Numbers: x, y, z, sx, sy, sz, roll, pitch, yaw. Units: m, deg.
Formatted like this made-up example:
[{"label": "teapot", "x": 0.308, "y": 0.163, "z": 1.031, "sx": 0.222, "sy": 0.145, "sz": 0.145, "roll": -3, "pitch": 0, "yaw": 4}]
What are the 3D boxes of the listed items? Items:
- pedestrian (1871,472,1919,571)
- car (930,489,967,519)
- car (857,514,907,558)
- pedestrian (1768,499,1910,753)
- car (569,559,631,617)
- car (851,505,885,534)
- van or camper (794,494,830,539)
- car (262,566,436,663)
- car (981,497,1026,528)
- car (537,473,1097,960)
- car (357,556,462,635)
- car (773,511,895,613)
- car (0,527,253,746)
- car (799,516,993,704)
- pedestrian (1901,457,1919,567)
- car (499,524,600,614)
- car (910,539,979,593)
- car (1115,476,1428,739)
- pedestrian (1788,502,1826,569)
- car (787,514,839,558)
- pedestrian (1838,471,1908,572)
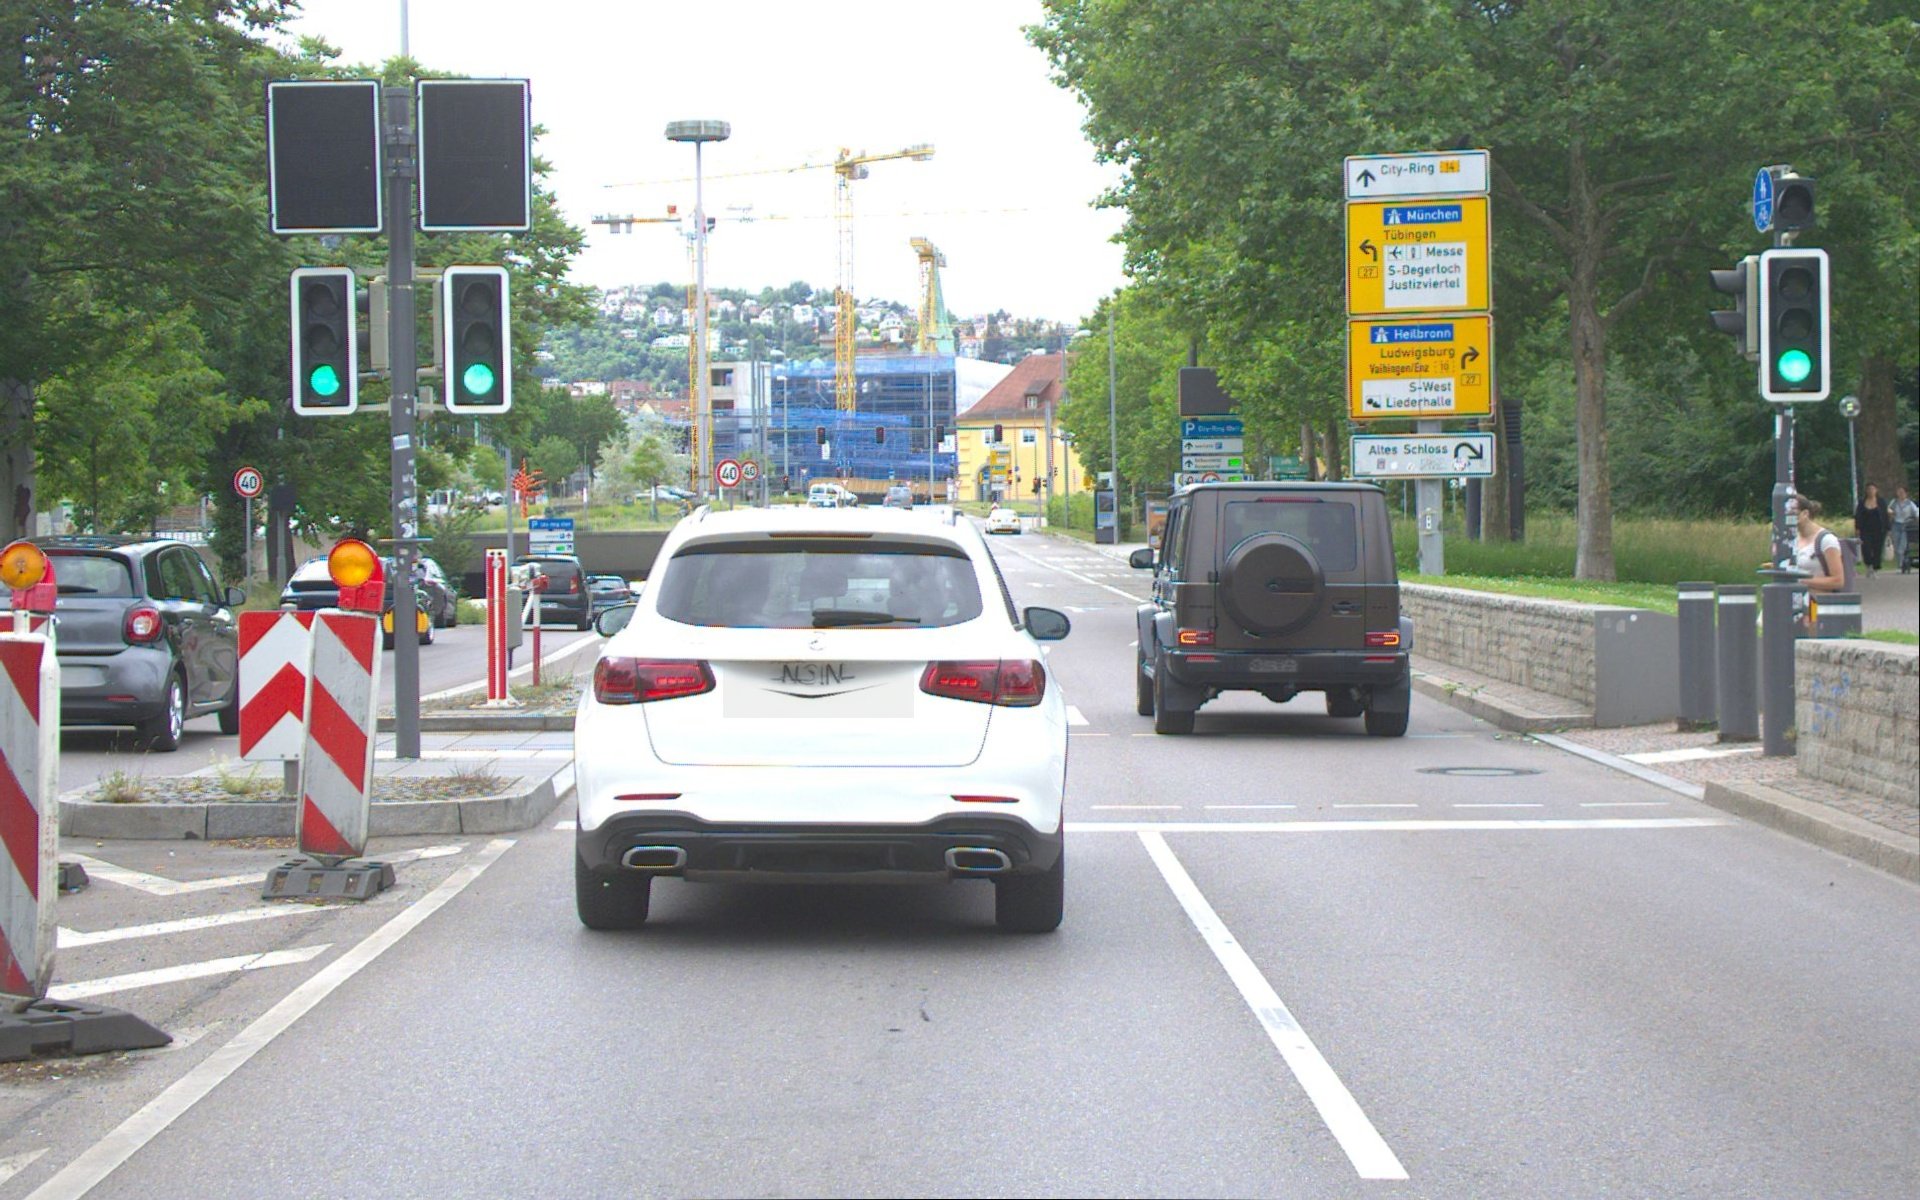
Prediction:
[{"label": "pedestrian", "x": 17.795, "y": -1.470, "z": 64.946, "sx": 0.997, "sy": 1.830, "sz": 1.029, "roll": 2, "pitch": 0, "yaw": 10}, {"label": "car", "x": -0.646, "y": -5.237, "z": 188.453, "sx": 1.719, "sy": 1.579, "sz": 4.001, "roll": 2, "pitch": 1, "yaw": -4}, {"label": "car", "x": -3.372, "y": -2.716, "z": 147.277, "sx": 1.993, "sy": 1.774, "sz": 4.000, "roll": 2, "pitch": 0, "yaw": -3}, {"label": "pedestrian", "x": 5.848, "y": 0.169, "z": 22.898, "sx": 0.697, "sy": 1.650, "sz": 0.684, "roll": 2, "pitch": 0, "yaw": -3}, {"label": "car", "x": -10.652, "y": -0.380, "z": 101.616, "sx": 1.718, "sy": 1.579, "sz": 4.001, "roll": 2, "pitch": 1, "yaw": -7}, {"label": "car", "x": -5.244, "y": -4.594, "z": 195.669, "sx": 1.719, "sy": 1.579, "sz": 4.001, "roll": 2, "pitch": 1, "yaw": -4}, {"label": "van or camper", "x": -8.179, "y": -4.578, "z": 189.472, "sx": 1.922, "sy": 2.312, "sz": 4.000, "roll": 1, "pitch": 0, "yaw": -3}, {"label": "car", "x": -8.916, "y": 0.183, "z": 50.441, "sx": 1.719, "sy": 1.288, "sz": 4.000, "roll": 2, "pitch": 1, "yaw": 2}, {"label": "car", "x": 2.497, "y": -5.030, "z": 197.915, "sx": 1.993, "sy": 1.612, "sz": 4.001, "roll": 2, "pitch": 0, "yaw": -7}, {"label": "car", "x": -0.608, "y": 0.404, "z": 14.235, "sx": 1.940, "sy": 1.678, "sz": 4.000, "roll": 2, "pitch": 0, "yaw": -3}, {"label": "car", "x": -11.562, "y": -0.113, "z": 72.365, "sx": 1.753, "sy": 1.548, "sz": 4.001, "roll": 1, "pitch": 1, "yaw": -3}, {"label": "car", "x": -2.099, "y": -0.656, "z": 56.543, "sx": 1.922, "sy": 1.596, "sz": 4.001, "roll": 1, "pitch": 1, "yaw": -3}, {"label": "car", "x": -6.398, "y": 0.238, "z": 25.648, "sx": 1.627, "sy": 1.504, "sz": 3.540, "roll": 1, "pitch": 0, "yaw": -2}, {"label": "car", "x": -0.621, "y": 0.086, "z": 32.543, "sx": 1.672, "sy": 1.622, "sz": 4.000, "roll": 2, "pitch": 0, "yaw": -2}, {"label": "pedestrian", "x": 17.800, "y": -1.612, "z": 63.395, "sx": 0.570, "sy": 2.007, "sz": 0.932, "roll": 2, "pitch": 0, "yaw": -1}, {"label": "car", "x": -8.049, "y": -0.638, "z": 67.687, "sx": 1.719, "sy": 1.673, "sz": 4.001, "roll": 2, "pitch": 1, "yaw": -4}, {"label": "car", "x": -0.529, "y": -1.087, "z": 110.488, "sx": 1.993, "sy": 1.656, "sz": 4.000, "roll": 2, "pitch": 0, "yaw": -3}, {"label": "car", "x": 2.419, "y": 0.041, "z": 27.842, "sx": 1.977, "sy": 1.887, "sz": 4.707, "roll": 2, "pitch": 0, "yaw": -1}, {"label": "pedestrian", "x": 17.038, "y": -1.285, "z": 69.122, "sx": 0.582, "sy": 1.320, "sz": 0.542, "roll": 2, "pitch": 0, "yaw": -1}, {"label": "car", "x": -6.112, "y": -2.652, "z": 142.918, "sx": 1.993, "sy": 1.751, "sz": 4.000, "roll": 2, "pitch": 0, "yaw": -1}, {"label": "pedestrian", "x": 15.890, "y": -1.363, "z": 59.850, "sx": 0.896, "sy": 1.726, "sz": 0.969, "roll": 2, "pitch": 1, "yaw": -1}]
